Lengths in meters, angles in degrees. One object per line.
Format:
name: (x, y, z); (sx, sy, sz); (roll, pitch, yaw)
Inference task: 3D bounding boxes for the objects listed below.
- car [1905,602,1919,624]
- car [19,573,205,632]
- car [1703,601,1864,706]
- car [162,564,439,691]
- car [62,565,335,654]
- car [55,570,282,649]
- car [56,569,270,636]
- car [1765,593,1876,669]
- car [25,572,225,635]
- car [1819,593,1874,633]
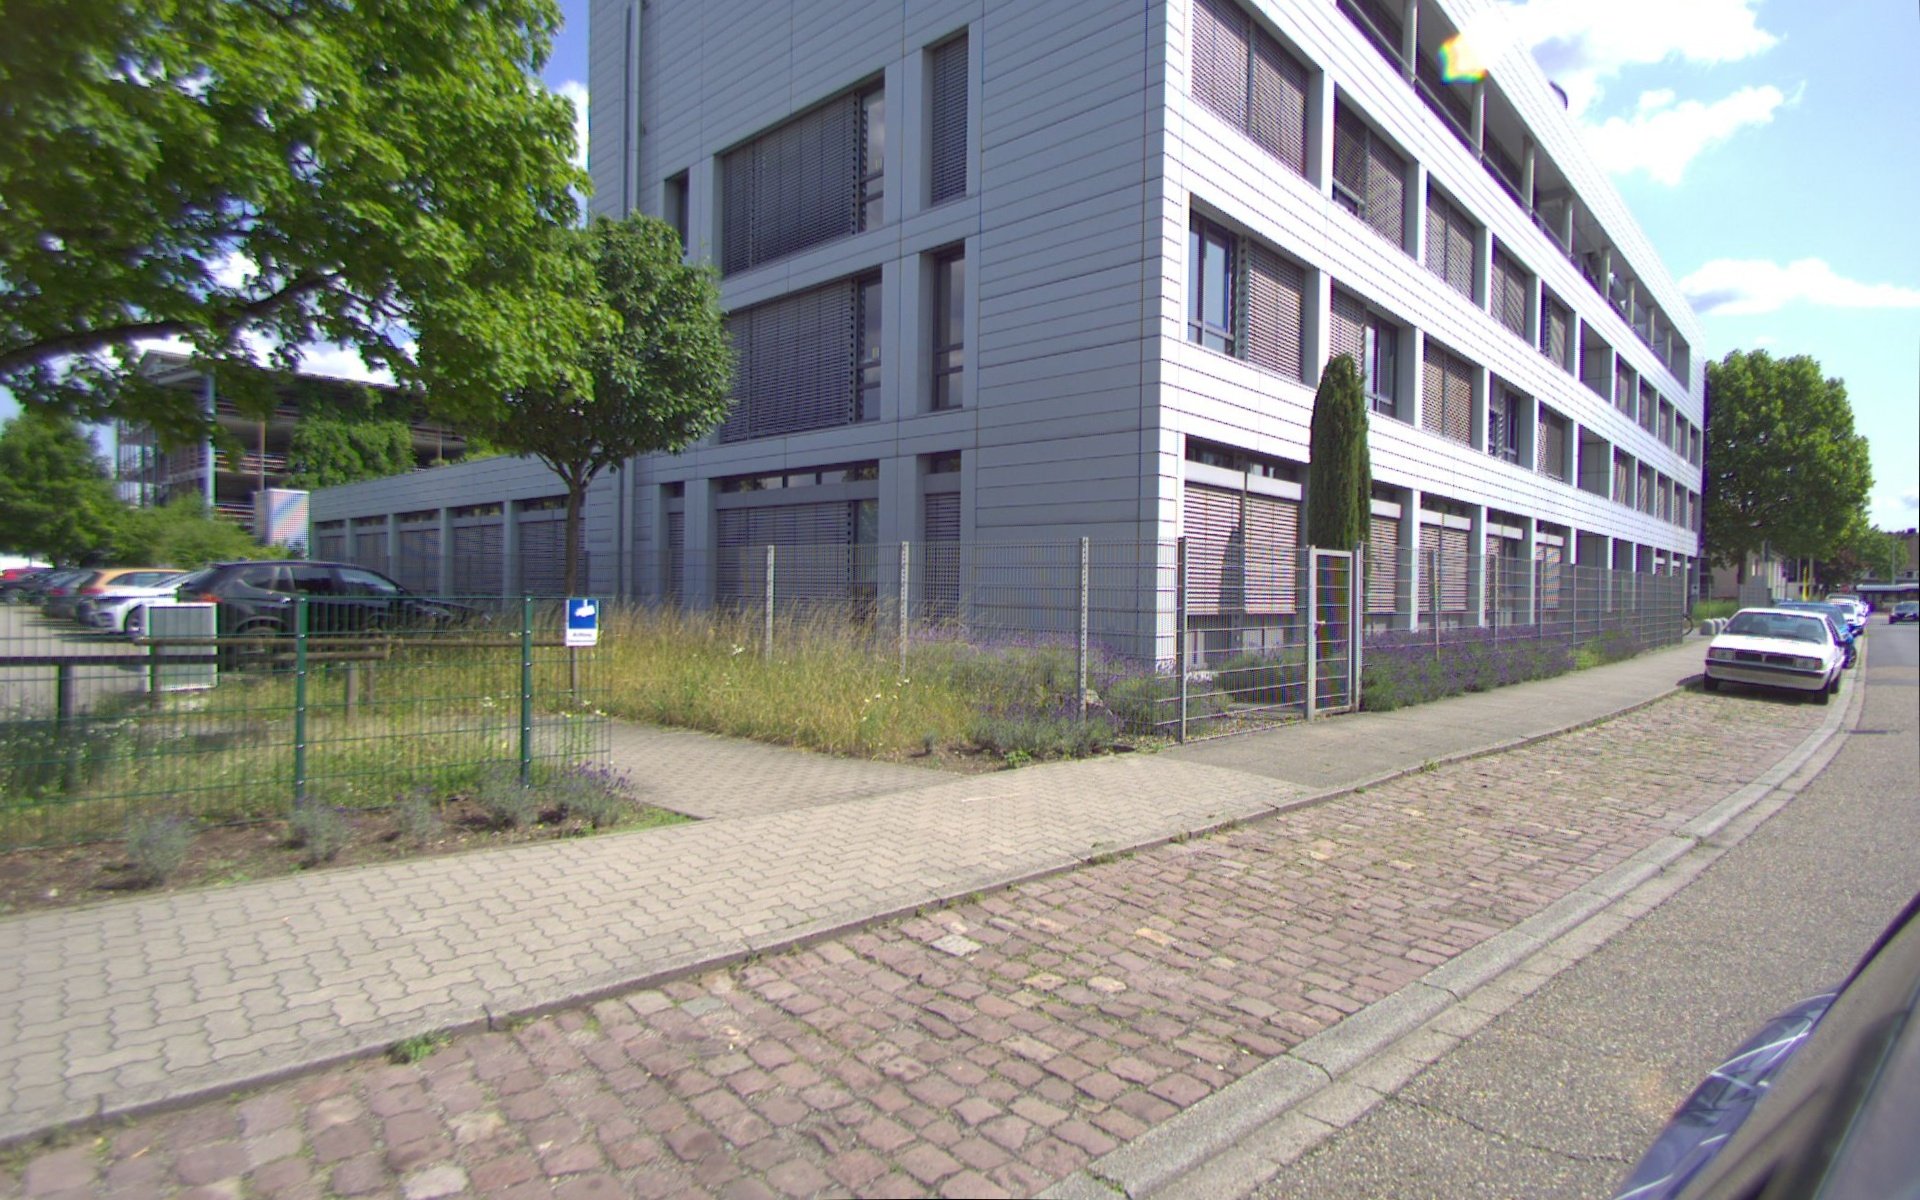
car: (61.528, 0.837, 64.612); (1.656, 1.303, 3.686); (5, 3, 42)
car: (-24.711, 0.008, 29.576); (1.950, 1.566, 3.940); (2, 2, 42)
car: (13.829, 0.788, 16.907); (1.674, 1.384, 4.093); (6, 4, 44)
car: (-10.284, 0.360, 15.898); (1.822, 1.667, 3.285); (6, 4, 42)
car: (-16.257, 0.170, 21.791); (1.728, 1.701, 4.465); (-1, 0, 42)
car: (-18.299, 0.219, 23.519); (1.950, 1.672, 3.937); (-2, -2, 43)
car: (-20.252, 0.023, 25.848); (1.946, 1.567, 3.946); (-1, 0, 38)
car: (20.501, 0.666, 24.204); (1.807, 1.523, 3.942); (6, 4, 39)
car: (-22.473, 0.055, 27.329); (1.949, 1.567, 3.940); (-1, 0, 42)
car: (38.483, 0.538, 43.899); (1.656, 1.534, 3.686); (5, 3, 42)
